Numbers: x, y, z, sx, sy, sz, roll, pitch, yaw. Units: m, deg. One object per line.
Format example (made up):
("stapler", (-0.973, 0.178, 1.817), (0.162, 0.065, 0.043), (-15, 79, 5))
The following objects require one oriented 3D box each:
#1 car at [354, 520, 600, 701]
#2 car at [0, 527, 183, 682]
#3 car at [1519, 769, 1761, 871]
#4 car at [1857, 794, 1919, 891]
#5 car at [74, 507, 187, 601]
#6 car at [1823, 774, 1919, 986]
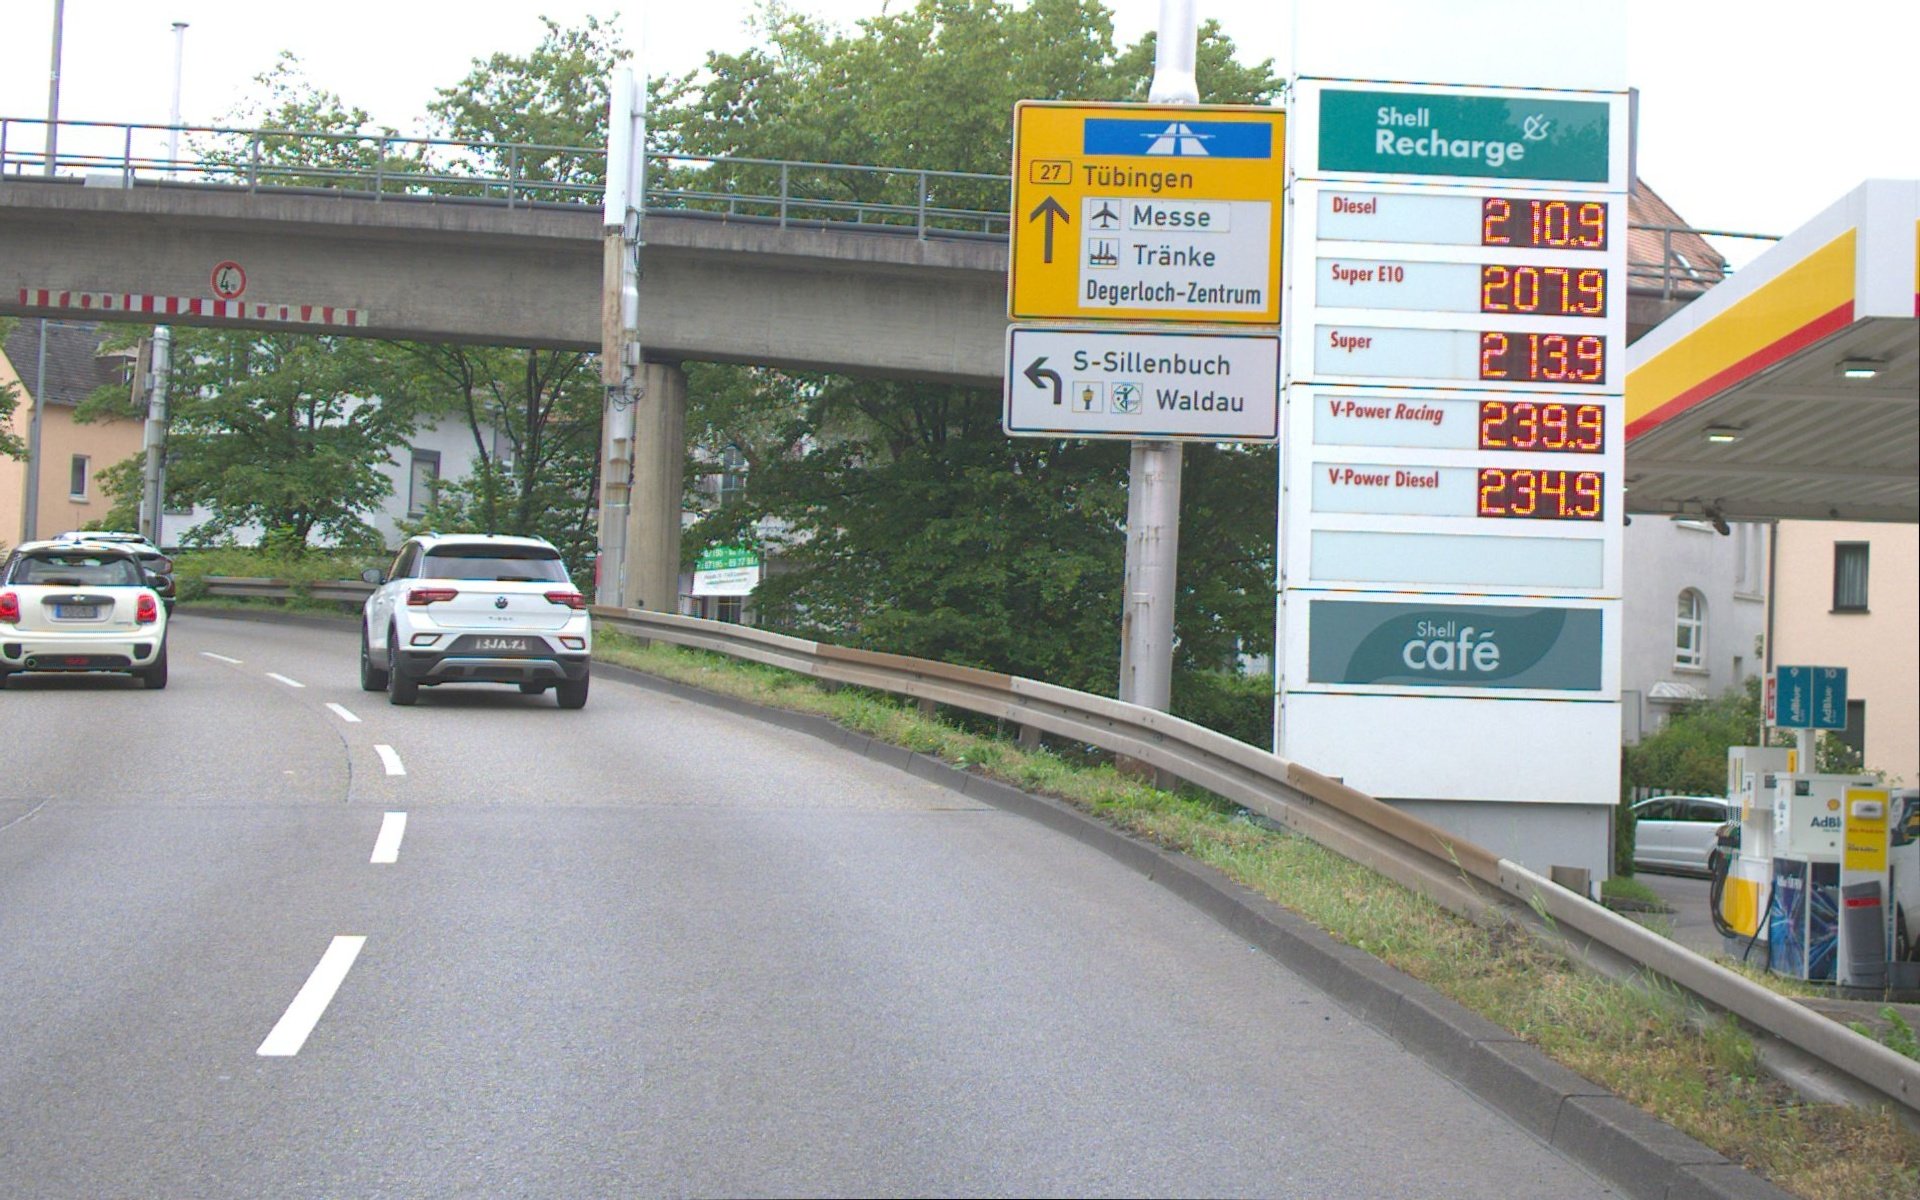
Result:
("car", (-4.536, 0.064, 31.921), (1.796, 1.513, 3.458), (2, 1, -15))
("car", (-8.617, 0.008, 33.827), (1.722, 1.371, 3.458), (2, 1, -11))
("car", (12.064, 3.904, 61.037), (3.765, 1.390, 1.647), (5, -2, 34))
("car", (17.460, 4.245, 57.618), (4.298, 1.516, 1.621), (5, -1, 31))
("car", (-13.447, -0.762, 55.730), (1.675, 1.404, 3.458), (2, 1, -14))
("car", (10.127, 2.820, 35.208), (1.736, 2.004, 4.711), (1, -3, 5))
